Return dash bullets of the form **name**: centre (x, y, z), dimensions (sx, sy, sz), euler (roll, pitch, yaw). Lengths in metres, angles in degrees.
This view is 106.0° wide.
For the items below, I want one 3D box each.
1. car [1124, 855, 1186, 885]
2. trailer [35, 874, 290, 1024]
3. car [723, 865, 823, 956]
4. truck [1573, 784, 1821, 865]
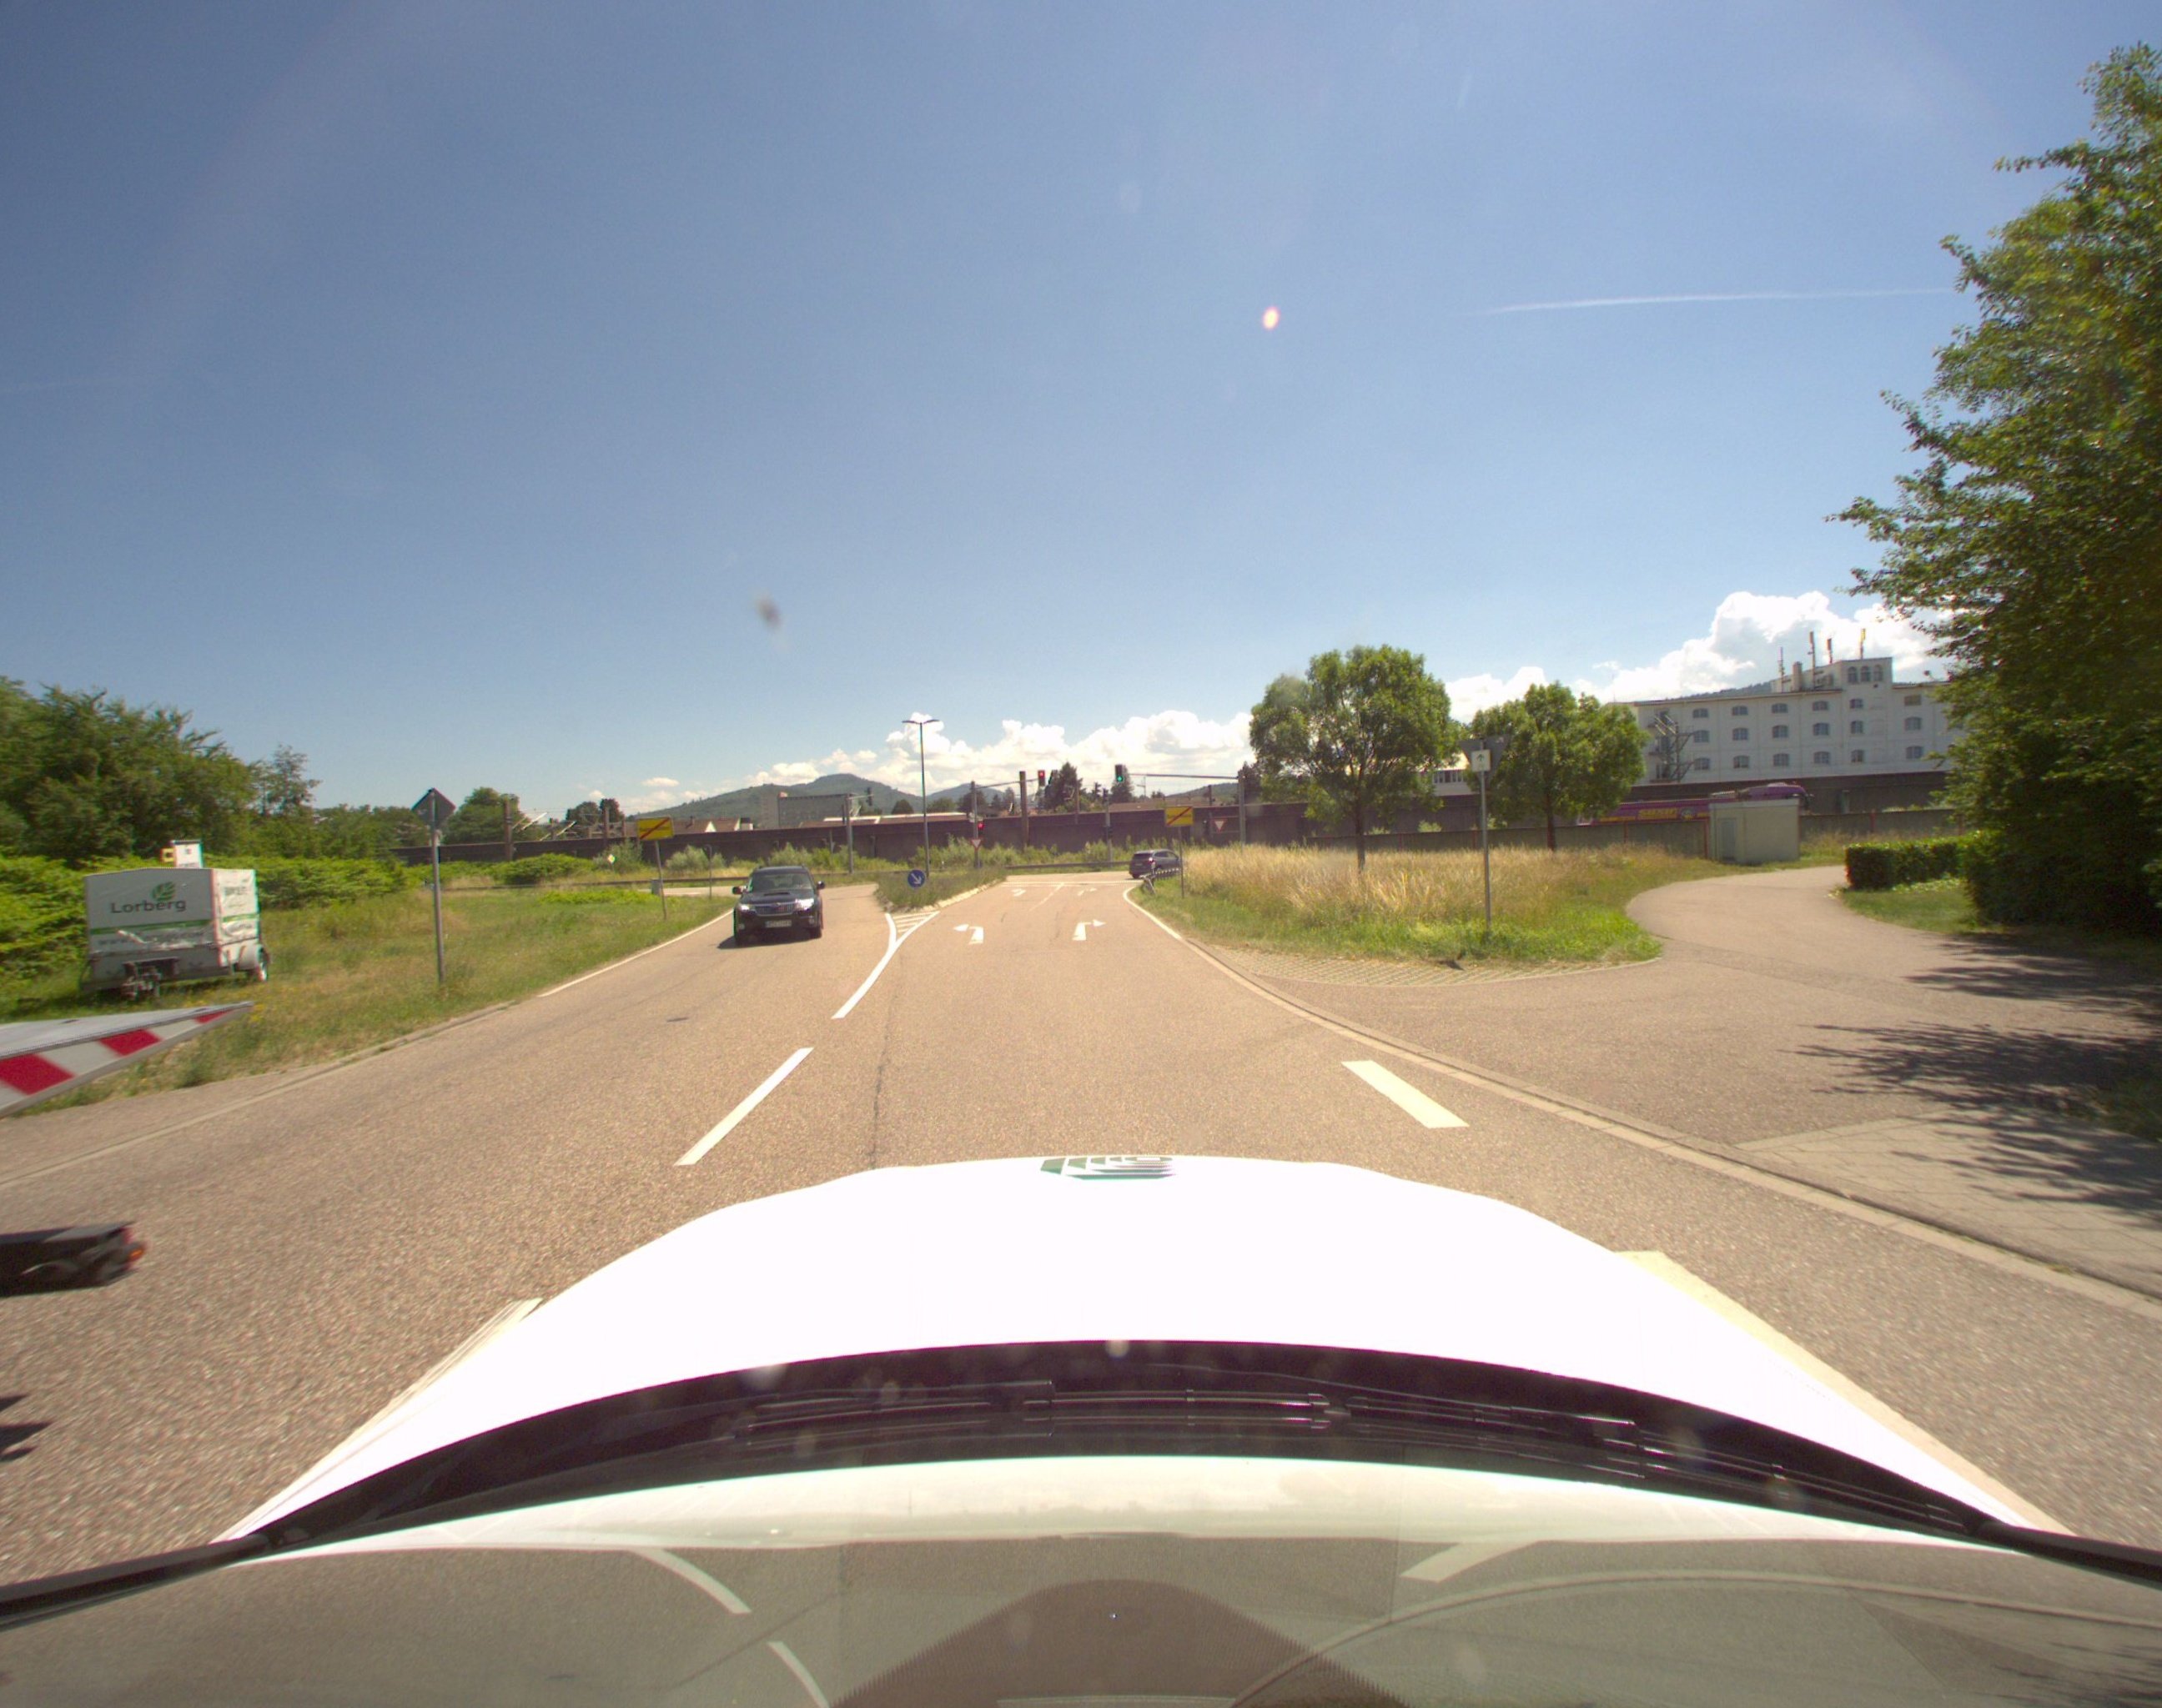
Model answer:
- **car**: centre (4.291, 0.880, 46.761), dimensions (1.974, 1.503, 4.026), euler (-1, 1, 32)
- **trailer**: centre (-14.963, 1.388, 13.560), dimensions (1.864, 2.013, 3.917), euler (-2, 0, -34)
- **car**: centre (-6.974, 1.179, 18.728), dimensions (1.907, 1.702, 3.975), euler (-1, 1, -18)
- **truck**: centre (36.408, -1.674, 48.596), dimensions (11.700, 4.180, 3.013), euler (-2, 0, 8)
